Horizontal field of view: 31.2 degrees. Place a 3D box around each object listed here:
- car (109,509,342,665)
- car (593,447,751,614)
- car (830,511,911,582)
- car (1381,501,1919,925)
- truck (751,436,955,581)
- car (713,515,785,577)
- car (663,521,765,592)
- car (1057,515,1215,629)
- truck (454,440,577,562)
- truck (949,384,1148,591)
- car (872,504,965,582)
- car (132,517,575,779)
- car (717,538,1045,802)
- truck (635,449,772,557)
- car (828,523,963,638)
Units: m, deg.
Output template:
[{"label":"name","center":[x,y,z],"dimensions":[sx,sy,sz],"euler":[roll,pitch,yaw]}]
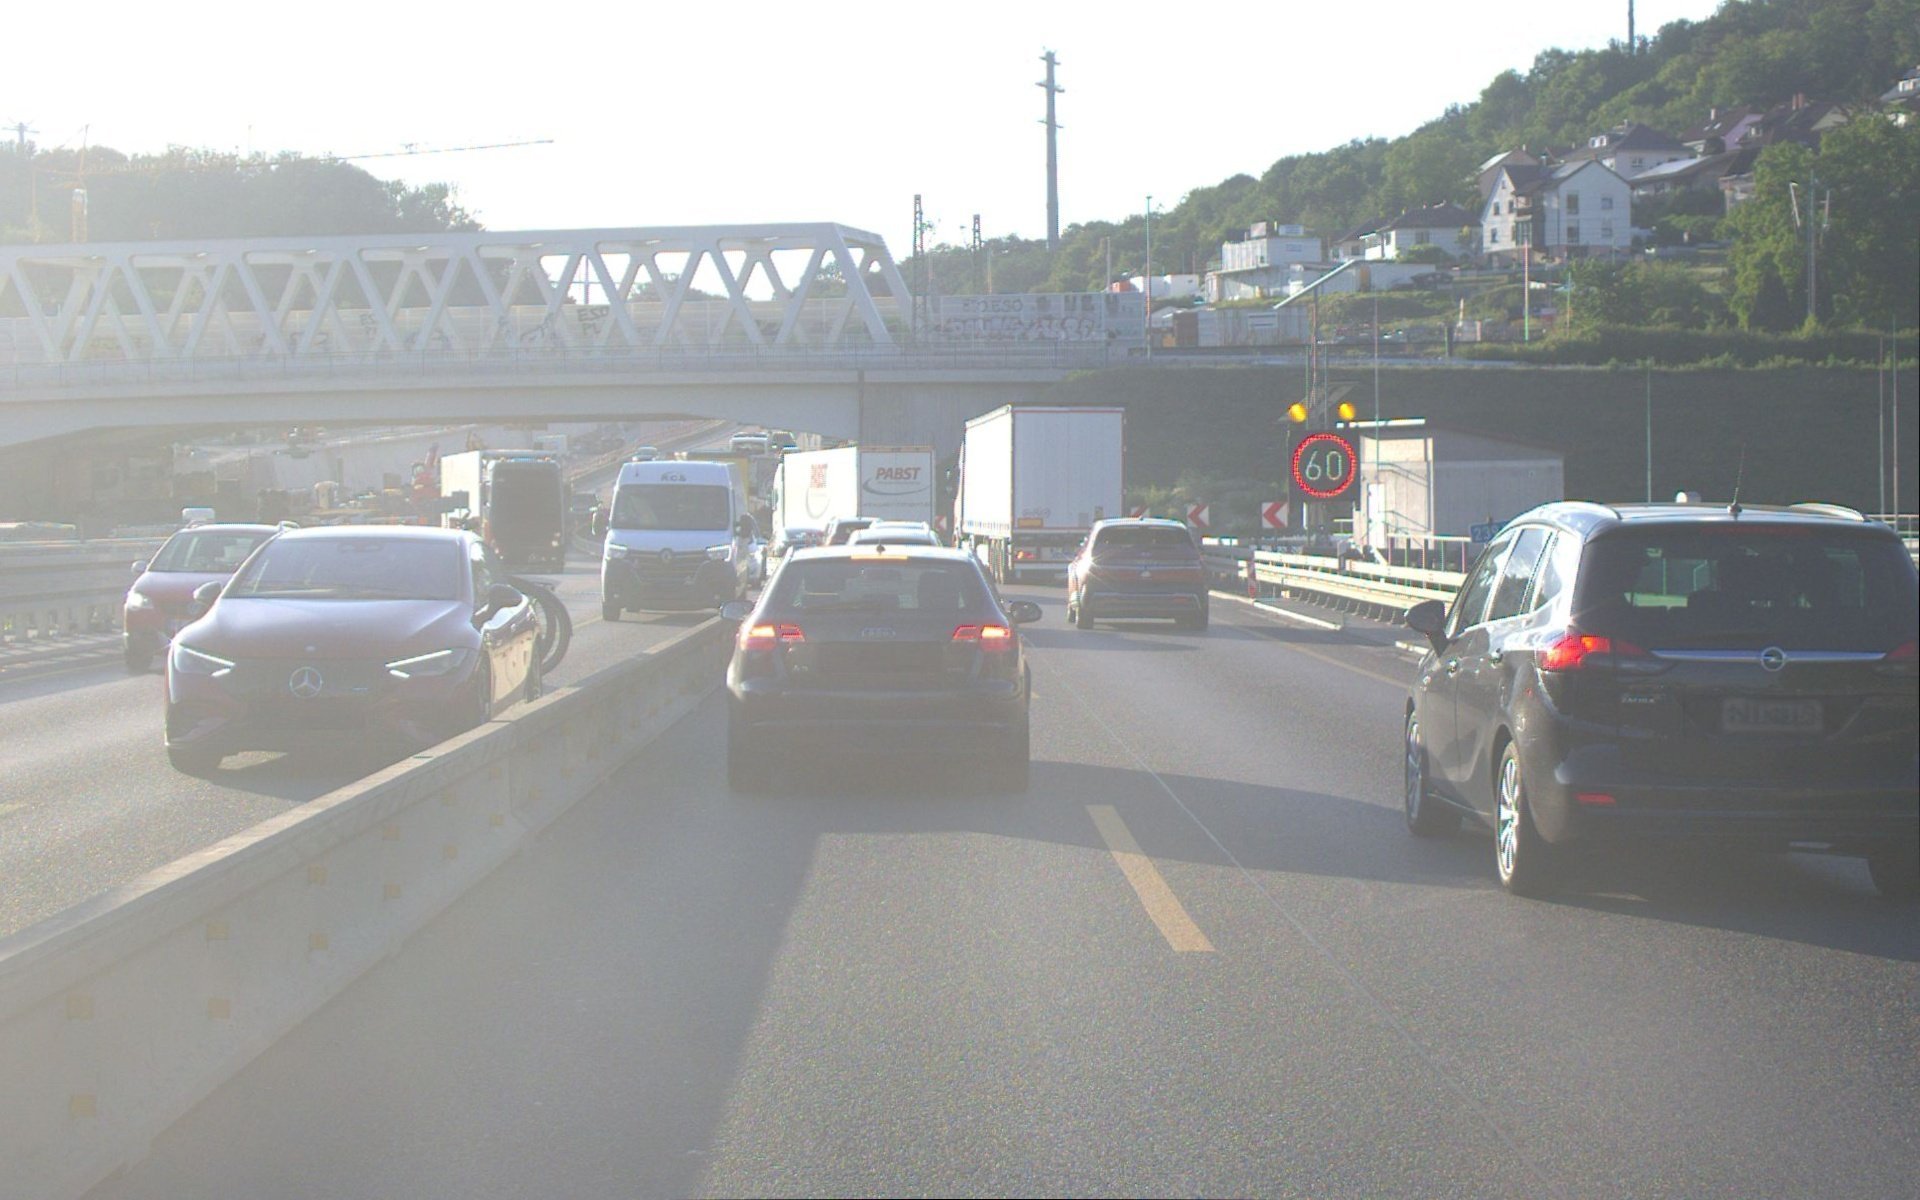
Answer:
[{"label":"car","center":[-7.673,-0.177,36.223],"dimensions":[1.616,1.546,4.088],"euler":[0,1,-1]},{"label":"car","center":[-4.484,-1.111,54.344],"dimensions":[2.073,2.449,6.267],"euler":[1,1,-1]},{"label":"car","center":[-2.287,-1.375,86.854],"dimensions":[1.698,1.726,4.001],"euler":[1,2,-6]},{"label":"car","center":[3.118,0.391,15.554],"dimensions":[1.814,1.626,4.411],"euler":[1,1,-1]},{"label":"truck","center":[-3.812,-3.044,115.585],"dimensions":[3.889,4.483,15.272],"euler":[1,1,-13]},{"label":"car","center":[-5.444,-1.415,88.770],"dimensions":[1.792,1.534,4.368],"euler":[0,1,-3]},{"label":"car","center":[-5.309,-0.964,74.566],"dimensions":[1.923,1.492,4.368],"euler":[0,1,0]},{"label":"car","center":[2.543,-0.444,50.481],"dimensions":[1.769,1.547,4.001],"euler":[2,1,-5]},{"label":"truck","center":[-14.949,-3.317,114.953],"dimensions":[2.930,3.877,10.267],"euler":[0,2,-14]},{"label":"truck","center":[1.918,-2.626,83.010],"dimensions":[3.385,4.483,15.269],"euler":[1,1,-4]},{"label":"car","center":[-0.821,-1.168,69.607],"dimensions":[1.765,1.481,4.000],"euler":[2,1,0]},{"label":"car","center":[-3.900,0.220,23.158],"dimensions":[1.993,1.525,5.782],"euler":[1,1,0]},{"label":"car","center":[-0.489,0.350,20.800],"dimensions":[1.770,1.385,4.001],"euler":[1,1,-2]},{"label":"truck","center":[-11.459,-4.388,151.833],"dimensions":[3.889,4.482,13.854],"euler":[1,2,-13]},{"label":"car","center":[-0.939,-0.306,48.017],"dimensions":[1.765,1.481,4.001],"euler":[2,1,-2]}]
